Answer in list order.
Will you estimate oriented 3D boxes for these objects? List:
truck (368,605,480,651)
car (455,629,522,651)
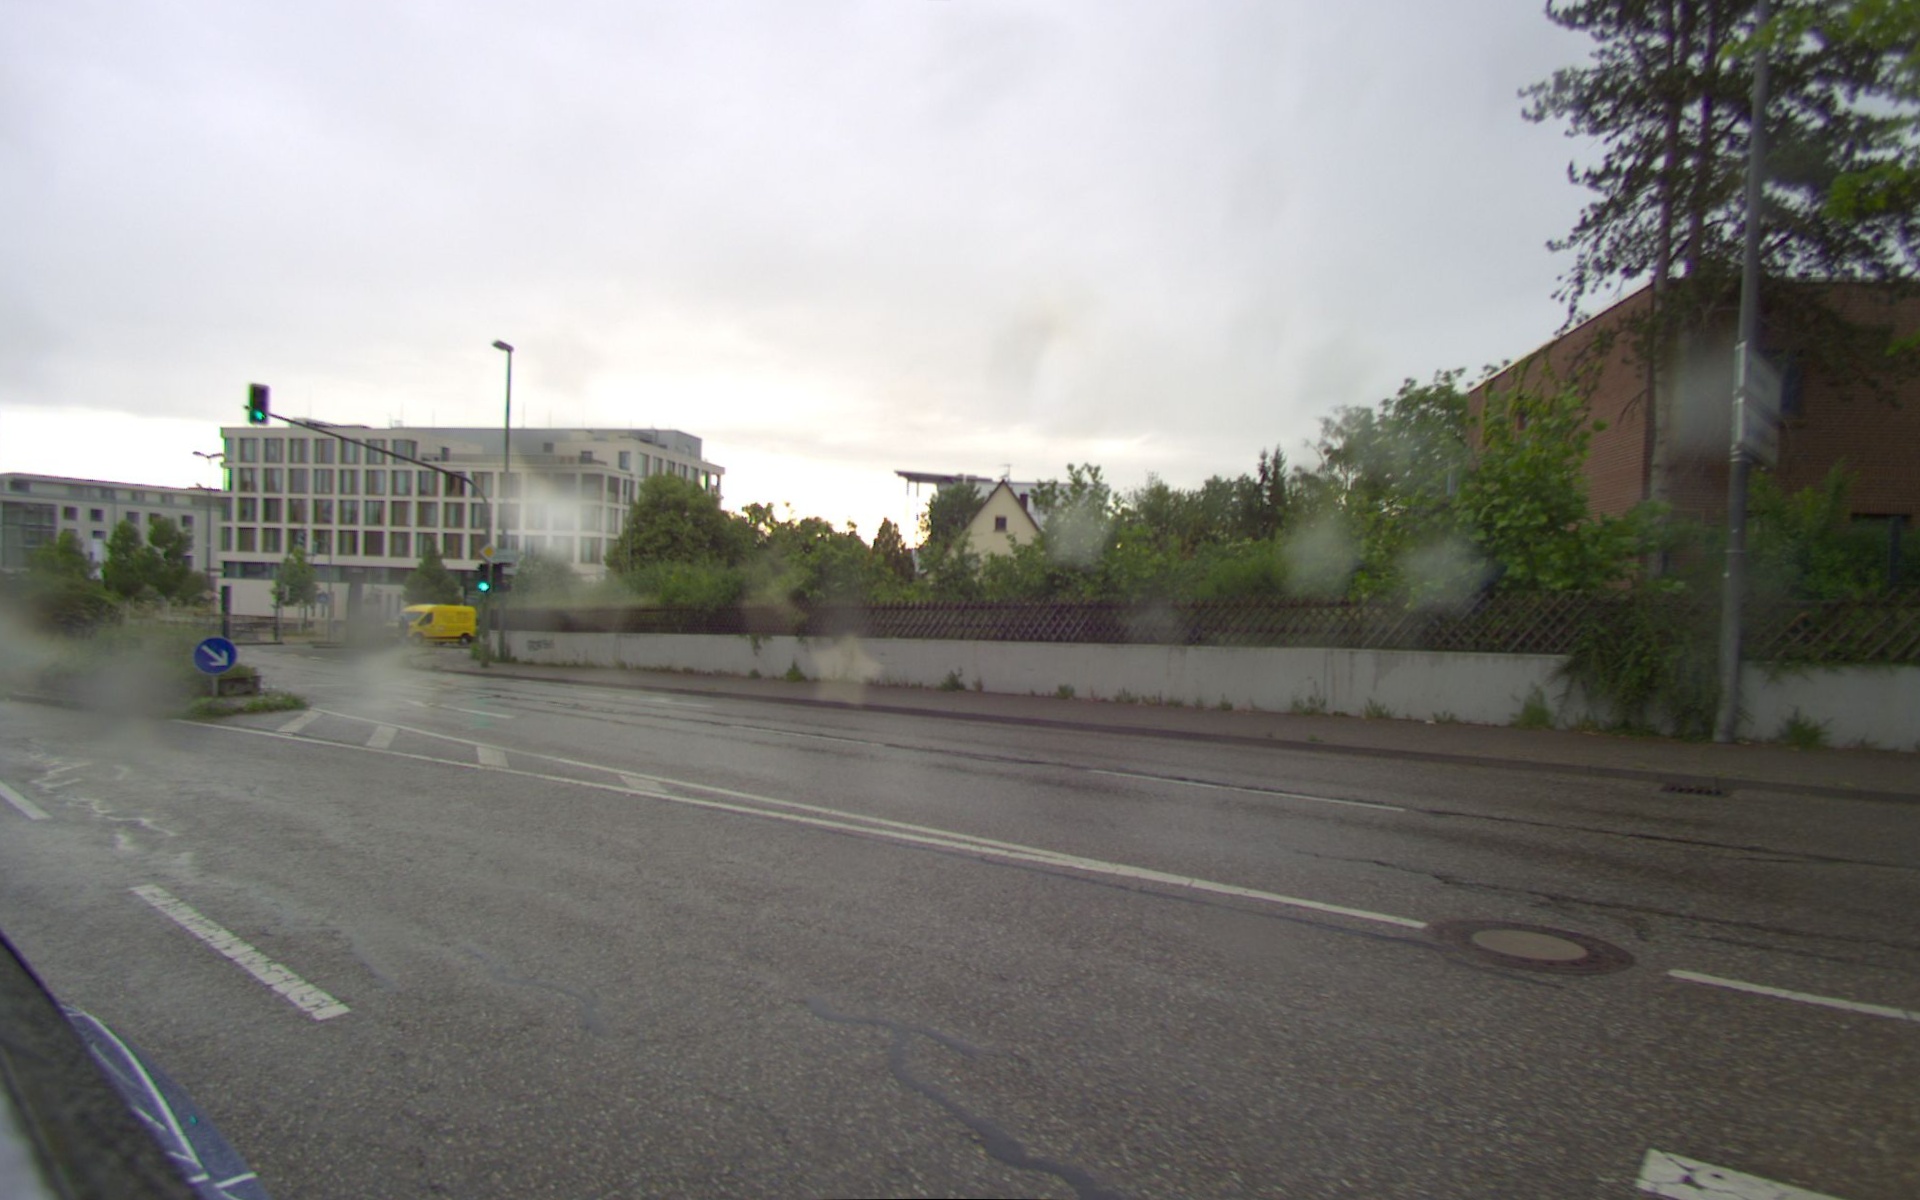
[{"bbox_3d":[-31.501,1.685,59.780,2.207,2.557,6.146,1,-2,14],"label":"truck"},{"bbox_3d":[-31.057,2.632,66.771,1.845,1.327,4.342,2,-2,10],"label":"car"}]
